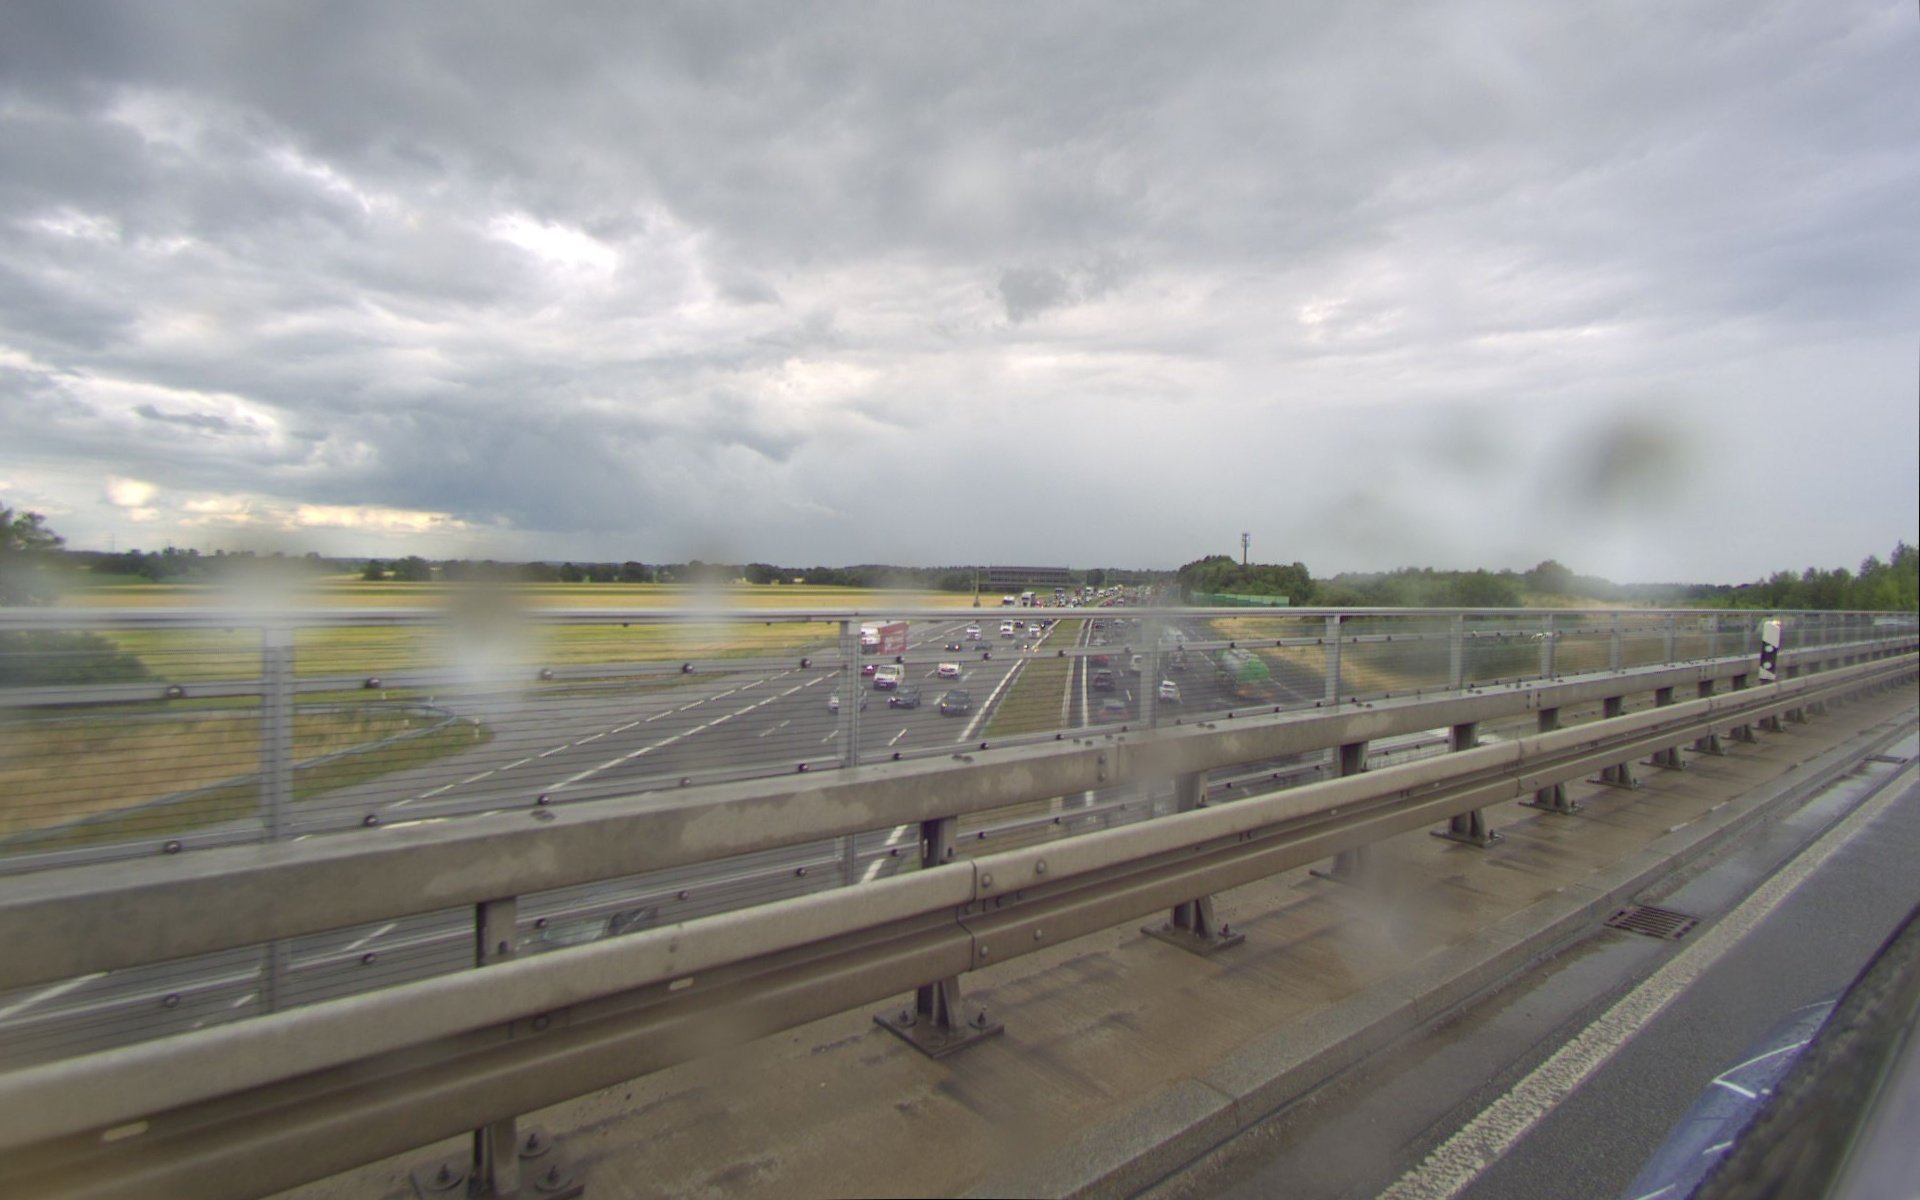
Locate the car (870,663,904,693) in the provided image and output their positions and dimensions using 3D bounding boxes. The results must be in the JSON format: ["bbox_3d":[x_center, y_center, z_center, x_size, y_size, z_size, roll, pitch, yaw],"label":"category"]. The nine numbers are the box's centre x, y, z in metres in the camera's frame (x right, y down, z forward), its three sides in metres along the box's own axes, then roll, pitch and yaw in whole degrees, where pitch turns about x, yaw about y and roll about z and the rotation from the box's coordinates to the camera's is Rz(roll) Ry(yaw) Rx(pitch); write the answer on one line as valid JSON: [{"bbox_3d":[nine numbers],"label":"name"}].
[{"bbox_3d":[-5.657,6.028,79.016,1.783,1.908,4.715,0,0,7],"label":"car"}]

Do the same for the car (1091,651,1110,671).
[{"bbox_3d":[14.090,6.094,101.559,1.826,1.690,4.713,0,0,8],"label":"car"}]

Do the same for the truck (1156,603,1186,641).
[{"bbox_3d":[33.167,3.346,159.565,3.434,5.420,15.596,0,0,8],"label":"truck"}]

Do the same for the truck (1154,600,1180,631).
[{"bbox_3d":[37.384,2.683,183.209,3.434,5.420,15.596,0,0,8],"label":"truck"}]

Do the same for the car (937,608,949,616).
[{"bbox_3d":[-3.215,2.206,193.428,1.783,1.454,4.715,0,0,7],"label":"car"}]

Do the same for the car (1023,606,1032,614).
[{"bbox_3d":[15.844,2.264,236.768,1.826,1.690,4.713,0,0,8],"label":"car"}]

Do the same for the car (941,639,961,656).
[{"bbox_3d":[-1.021,5.578,118.513,1.784,1.690,4.714,0,0,8],"label":"car"}]

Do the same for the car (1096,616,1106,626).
[{"bbox_3d":[26.496,3.979,189.907,1.826,1.797,4.713,0,0,8],"label":"car"}]

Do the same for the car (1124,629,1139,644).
[{"bbox_3d":[23.203,4.938,136.991,1.826,1.797,4.713,0,0,8],"label":"car"}]

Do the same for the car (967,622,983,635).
[{"bbox_3d":[2.231,4.059,146.173,1.784,1.690,4.714,0,0,8],"label":"car"}]

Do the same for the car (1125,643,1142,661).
[{"bbox_3d":[20.436,6.111,119.436,1.826,1.797,4.713,0,0,8],"label":"car"}]

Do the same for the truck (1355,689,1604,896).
[{"bbox_3d":[18.535,6.405,38.010,3.545,4.594,15.589,0,0,9],"label":"truck"}]

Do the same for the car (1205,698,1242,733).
[{"bbox_3d":[17.149,7.463,65.957,1.826,1.690,4.713,0,0,8],"label":"car"}]

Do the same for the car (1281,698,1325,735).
[{"bbox_3d":[21.679,7.335,64.104,1.826,1.690,4.713,0,0,8],"label":"car"}]

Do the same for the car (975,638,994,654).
[{"bbox_3d":[2.989,5.604,123.450,1.784,1.690,4.714,0,0,8],"label":"car"}]

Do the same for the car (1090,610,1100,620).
[{"bbox_3d":[29.256,3.141,219.061,1.965,2.039,3.994,-3,0,5],"label":"car"}]

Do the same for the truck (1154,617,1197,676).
[{"bbox_3d":[23.047,4.818,108.984,3.241,5.511,15.596,0,0,8],"label":"truck"}]

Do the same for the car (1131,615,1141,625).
[{"bbox_3d":[35.465,3.979,204.169,1.826,1.797,4.713,0,0,8],"label":"car"}]

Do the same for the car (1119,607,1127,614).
[{"bbox_3d":[39.486,2.565,245.602,1.826,1.797,4.713,0,0,8],"label":"car"}]

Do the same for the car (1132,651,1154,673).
[{"bbox_3d":[17.276,5.838,95.806,1.826,1.797,4.713,0,0,8],"label":"car"}]

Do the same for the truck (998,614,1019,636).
[{"bbox_3d":[7.626,3.881,158.489,2.553,3.219,8.375,0,0,8],"label":"truck"}]

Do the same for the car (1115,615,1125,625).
[{"bbox_3d":[31.162,3.810,197.322,1.826,1.797,4.713,0,0,8],"label":"car"}]

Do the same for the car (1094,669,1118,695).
[{"bbox_3d":[11.742,6.584,81.574,1.826,1.690,4.713,0,0,8],"label":"car"}]

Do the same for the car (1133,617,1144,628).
[{"bbox_3d":[33.195,4.206,188.039,1.826,1.797,4.713,0,0,8],"label":"car"}]

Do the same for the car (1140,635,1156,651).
[{"bbox_3d":[24.133,5.469,129.828,1.826,1.797,4.713,0,0,8],"label":"car"}]

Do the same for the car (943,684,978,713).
[{"bbox_3d":[0.068,6.629,68.442,1.783,1.454,4.715,0,0,7],"label":"car"}]

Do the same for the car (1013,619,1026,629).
[{"bbox_3d":[10.531,4.272,178.780,1.784,1.690,4.714,0,0,8],"label":"car"}]

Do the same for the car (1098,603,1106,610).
[{"bbox_3d":[35.947,1.707,256.034,1.826,1.797,4.713,0,0,8],"label":"car"}]

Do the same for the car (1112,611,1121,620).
[{"bbox_3d":[33.750,3.326,218.089,1.826,1.797,4.713,0,0,8],"label":"car"}]

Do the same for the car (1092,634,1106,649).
[{"bbox_3d":[18.732,5.545,136.393,1.826,1.797,4.713,0,0,8],"label":"car"}]

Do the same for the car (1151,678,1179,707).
[{"bbox_3d":[15.306,6.916,75.742,1.826,1.690,4.713,0,0,8],"label":"car"}]

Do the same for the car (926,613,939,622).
[{"bbox_3d":[-4.928,3.173,181.844,1.783,1.454,4.715,0,0,7],"label":"car"}]

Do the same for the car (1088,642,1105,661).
[{"bbox_3d":[15.617,5.879,115.771,1.826,1.797,4.713,0,0,8],"label":"car"}]

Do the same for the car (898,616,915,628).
[{"bbox_3d":[-8.165,3.271,154.553,1.826,1.690,4.713,0,0,8],"label":"car"}]

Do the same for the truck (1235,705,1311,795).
[{"bbox_3d":[15.417,7.244,50.435,2.175,3.003,9.286,0,0,8],"label":"truck"}]

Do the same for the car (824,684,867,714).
[{"bbox_3d":[-7.510,6.487,66.855,1.783,1.454,4.715,0,0,7],"label":"car"}]

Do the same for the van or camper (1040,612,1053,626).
[{"bbox_3d":[16.754,3.588,195.710,2.025,2.481,7.313,0,0,8],"label":"van or camper"}]

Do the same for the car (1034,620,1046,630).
[{"bbox_3d":[13.895,4.293,175.142,1.826,1.690,4.713,0,0,8],"label":"car"}]

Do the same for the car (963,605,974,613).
[{"bbox_3d":[1.776,1.897,215.780,1.783,1.454,4.715,0,0,7],"label":"car"}]

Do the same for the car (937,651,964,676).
[{"bbox_3d":[-0.851,5.607,89.884,1.783,1.870,4.715,0,0,7],"label":"car"}]

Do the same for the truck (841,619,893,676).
[{"bbox_3d":[-8.301,4.154,91.806,2.641,4.684,9.732,0,0,8],"label":"truck"}]

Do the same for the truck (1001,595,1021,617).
[{"bbox_3d":[12.060,1.441,237.271,2.751,4.961,12.712,0,0,12],"label":"truck"}]

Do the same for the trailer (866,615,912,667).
[{"bbox_3d":[-7.040,3.962,101.521,2.641,4.687,9.888,0,0,8],"label":"trailer"}]

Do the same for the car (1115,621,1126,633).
[{"bbox_3d":[26.818,4.472,169.383,1.826,1.797,4.713,0,0,8],"label":"car"}]

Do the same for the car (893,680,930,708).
[{"bbox_3d":[-3.329,6.508,70.123,1.783,1.454,4.715,0,0,7],"label":"car"}]

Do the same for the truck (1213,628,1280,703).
[{"bbox_3d":[24.051,5.262,85.813,3.241,5.230,15.596,0,0,8],"label":"truck"}]

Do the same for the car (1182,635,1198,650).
[{"bbox_3d":[31.626,5.784,139.305,1.826,1.797,4.713,0,0,8],"label":"car"}]

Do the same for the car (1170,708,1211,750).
[{"bbox_3d":[12.836,7.154,56.592,1.826,1.690,4.713,0,0,8],"label":"car"}]

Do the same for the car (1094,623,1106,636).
[{"bbox_3d":[20.833,4.405,150.330,1.826,1.797,4.713,0,0,8],"label":"car"}]

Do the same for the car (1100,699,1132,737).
[{"bbox_3d":[9.309,6.995,60.467,1.826,1.690,4.713,0,0,8],"label":"car"}]
